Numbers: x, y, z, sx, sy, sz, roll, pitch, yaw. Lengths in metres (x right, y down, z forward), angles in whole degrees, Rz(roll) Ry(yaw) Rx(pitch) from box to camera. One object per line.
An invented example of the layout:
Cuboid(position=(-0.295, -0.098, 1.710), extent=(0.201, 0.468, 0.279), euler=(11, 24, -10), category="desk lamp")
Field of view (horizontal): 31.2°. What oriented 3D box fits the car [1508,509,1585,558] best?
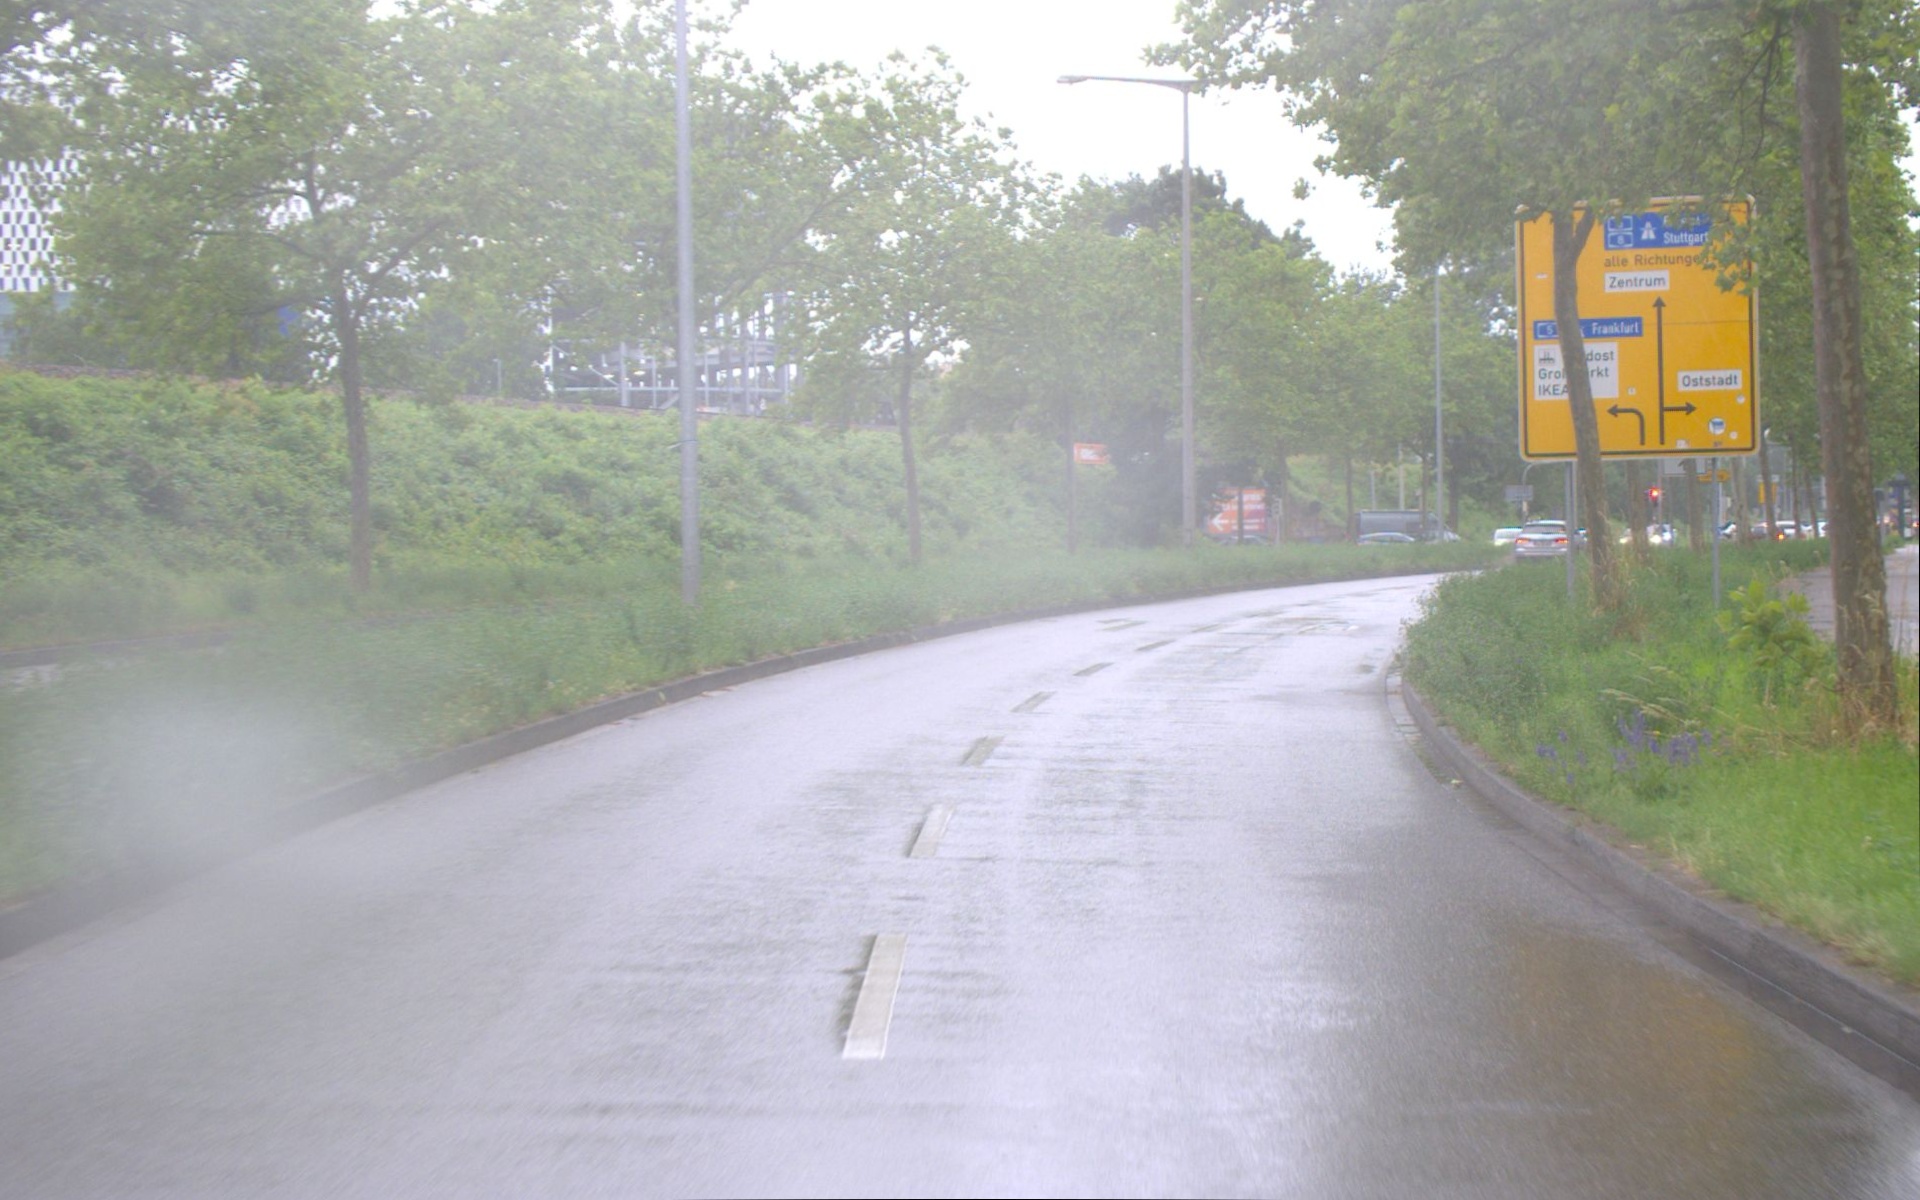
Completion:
Cuboid(position=(17.494, -1.979, 102.392), extent=(1.691, 1.428, 4.570), euler=(0, 1, 17), category="car")
